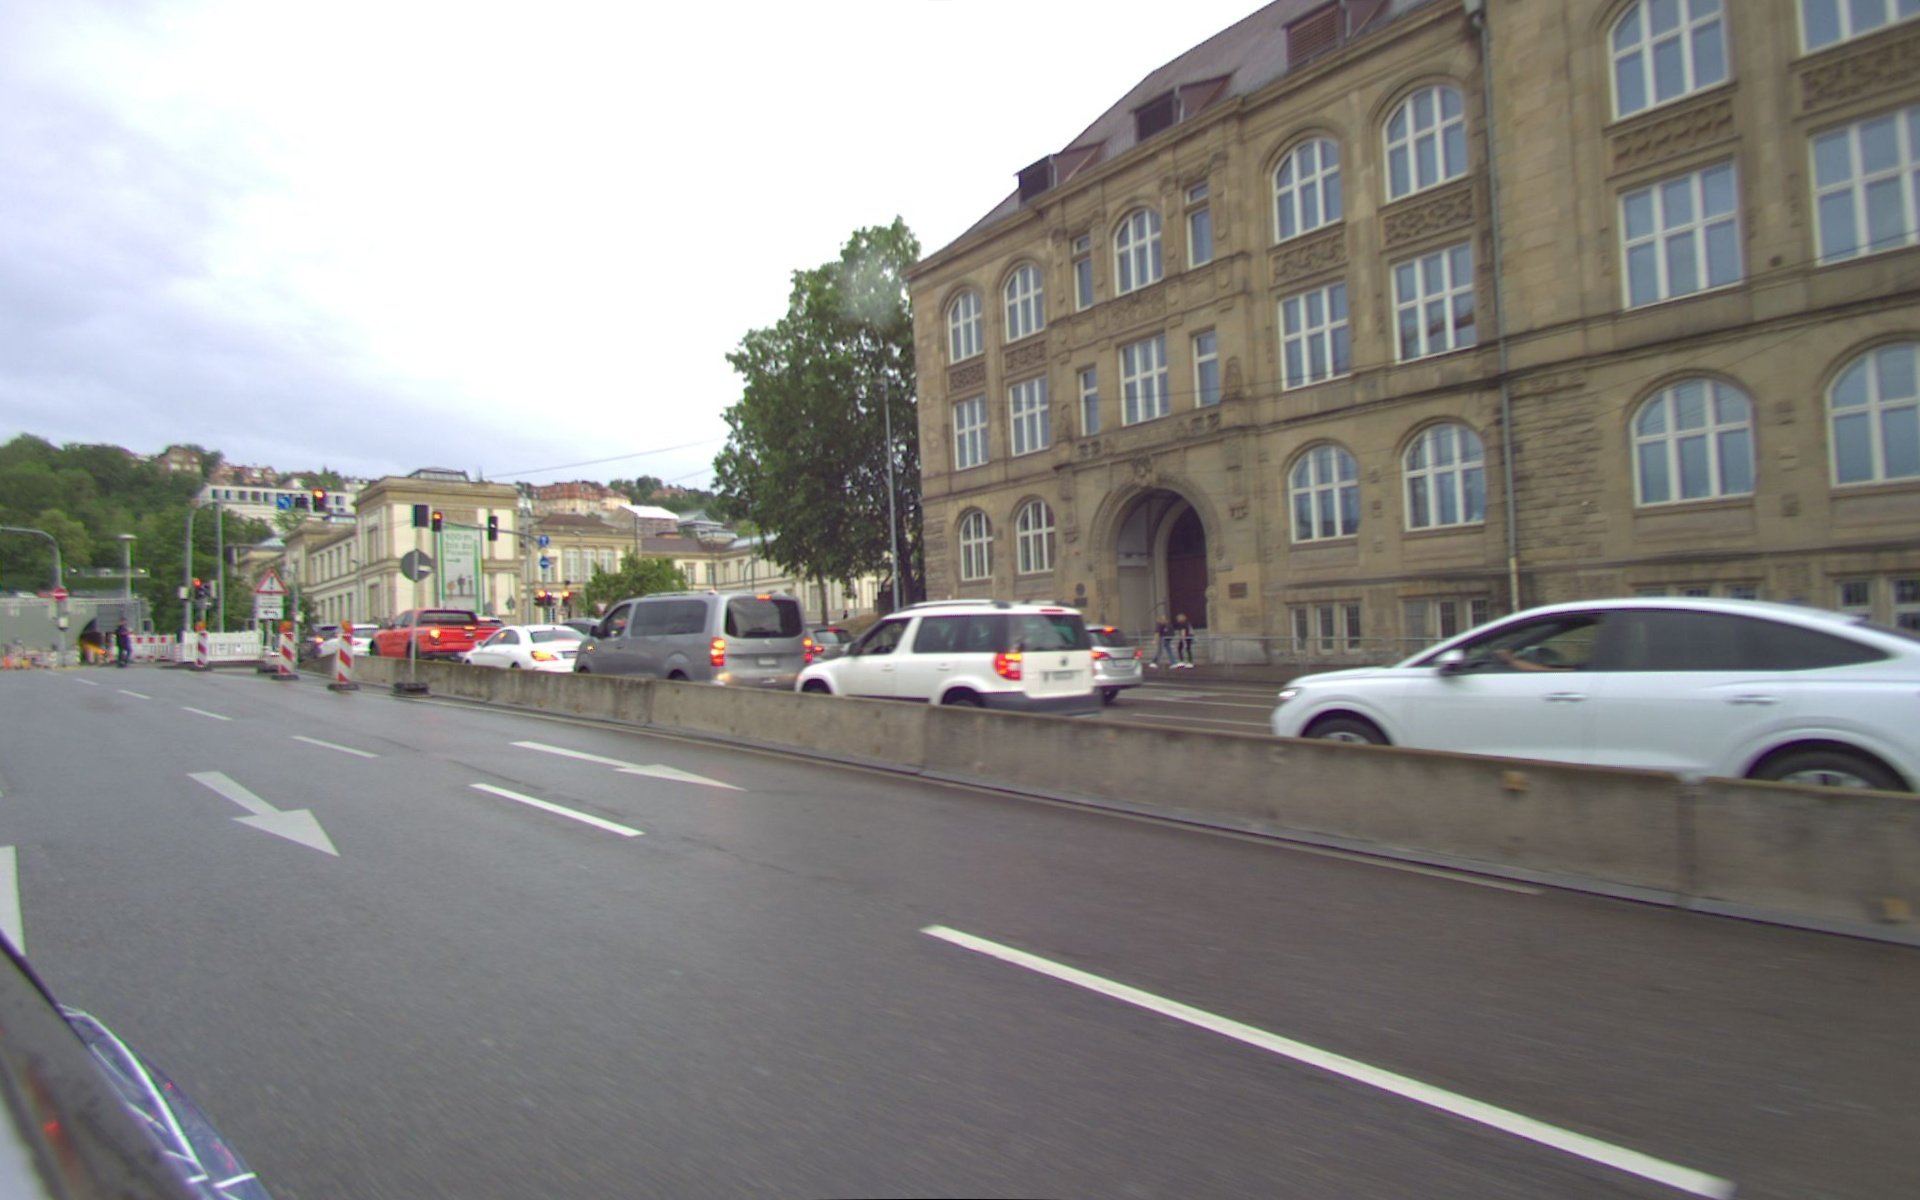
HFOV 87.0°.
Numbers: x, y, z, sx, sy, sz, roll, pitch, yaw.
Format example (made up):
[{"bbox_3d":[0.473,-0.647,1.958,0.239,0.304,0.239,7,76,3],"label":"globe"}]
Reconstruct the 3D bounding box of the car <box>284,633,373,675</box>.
[{"bbox_3d":[-23.421,1.953,37.482,1.970,1.482,4.350,2,-3,-43],"label":"car"}]

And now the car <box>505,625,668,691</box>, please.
[{"bbox_3d":[-10.235,1.526,27.614,4.606,1.660,1.975,-2,-3,37],"label":"car"}]

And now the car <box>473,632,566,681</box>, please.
[{"bbox_3d":[-17.344,2.185,39.789,3.996,1.824,1.762,-2,-3,40],"label":"car"}]

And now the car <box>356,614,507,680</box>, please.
[{"bbox_3d":[-13.995,1.203,26.616,5.384,1.579,1.971,-2,-3,45],"label":"car"}]

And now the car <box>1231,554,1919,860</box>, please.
[{"bbox_3d":[4.545,0.611,6.993,1.871,1.579,4.902,2,-3,-44],"label":"car"}]

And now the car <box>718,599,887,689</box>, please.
[{"bbox_3d":[-3.897,1.057,24.803,3.996,2.029,1.973,-2,-3,40],"label":"car"}]

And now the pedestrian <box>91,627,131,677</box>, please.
[{"bbox_3d":[-29.827,1.818,35.551,0.757,1.723,0.778,-1,-2,24],"label":"pedestrian"}]

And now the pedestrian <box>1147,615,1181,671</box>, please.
[{"bbox_3d":[5.876,1.234,29.113,0.609,1.596,0.736,2,-3,-42],"label":"pedestrian"}]

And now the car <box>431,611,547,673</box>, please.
[{"bbox_3d":[-14.976,1.322,32.070,1.970,1.808,4.619,2,-3,-43],"label":"car"}]

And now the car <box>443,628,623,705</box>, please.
[{"bbox_3d":[-9.459,1.386,22.200,1.971,1.513,4.824,2,-3,-45],"label":"car"}]

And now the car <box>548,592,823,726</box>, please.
[{"bbox_3d":[-4.749,0.917,16.883,1.970,1.880,5.599,2,-3,-44],"label":"car"}]

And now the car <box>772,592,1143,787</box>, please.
[{"bbox_3d":[-0.199,0.937,11.980,1.887,1.880,4.382,2,-3,-44],"label":"car"}]

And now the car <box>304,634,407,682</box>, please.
[{"bbox_3d":[-19.992,1.861,33.374,1.970,1.482,4.565,2,-3,-43],"label":"car"}]

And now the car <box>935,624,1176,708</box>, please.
[{"bbox_3d":[1.714,1.178,19.092,4.211,1.393,1.972,-2,-3,42],"label":"car"}]

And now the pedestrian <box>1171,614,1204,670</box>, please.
[{"bbox_3d":[6.681,1.227,29.669,0.734,1.596,0.610,-2,-3,40],"label":"pedestrian"}]
